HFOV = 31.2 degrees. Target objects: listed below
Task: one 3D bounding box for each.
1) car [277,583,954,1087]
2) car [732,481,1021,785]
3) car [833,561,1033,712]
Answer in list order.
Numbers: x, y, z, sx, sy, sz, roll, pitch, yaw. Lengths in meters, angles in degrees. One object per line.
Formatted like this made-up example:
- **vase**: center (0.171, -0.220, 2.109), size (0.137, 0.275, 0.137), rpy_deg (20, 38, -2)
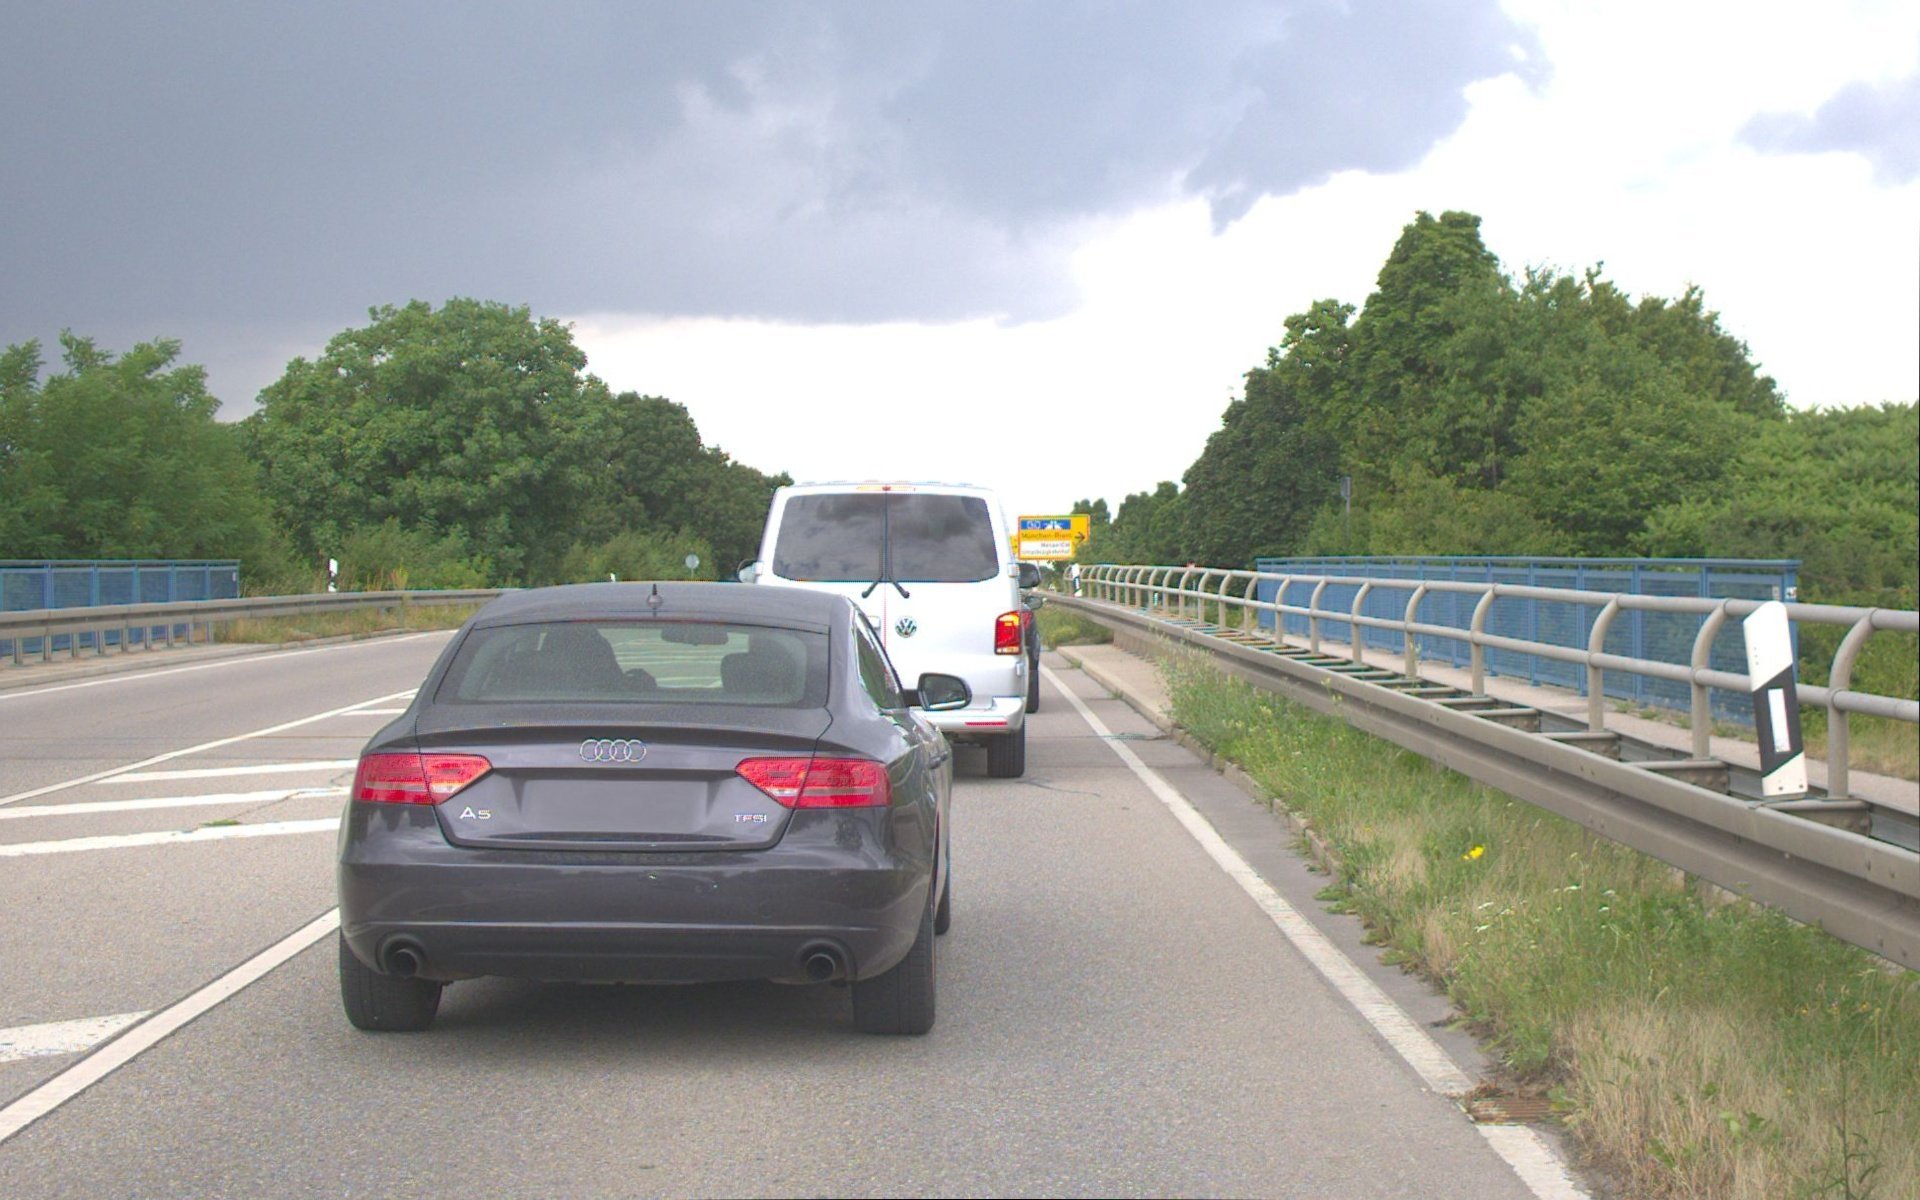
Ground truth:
- **car**: center (-0.965, 0.647, 11.617), size (1.821, 1.376, 4.072), rpy_deg (0, 1, 1)
- **car**: center (-0.547, 0.189, 23.878), size (1.828, 1.929, 4.000), rpy_deg (0, 1, 0)
- **car**: center (-0.220, 0.308, 33.540), size (1.821, 1.376, 4.072), rpy_deg (0, 1, 1)
